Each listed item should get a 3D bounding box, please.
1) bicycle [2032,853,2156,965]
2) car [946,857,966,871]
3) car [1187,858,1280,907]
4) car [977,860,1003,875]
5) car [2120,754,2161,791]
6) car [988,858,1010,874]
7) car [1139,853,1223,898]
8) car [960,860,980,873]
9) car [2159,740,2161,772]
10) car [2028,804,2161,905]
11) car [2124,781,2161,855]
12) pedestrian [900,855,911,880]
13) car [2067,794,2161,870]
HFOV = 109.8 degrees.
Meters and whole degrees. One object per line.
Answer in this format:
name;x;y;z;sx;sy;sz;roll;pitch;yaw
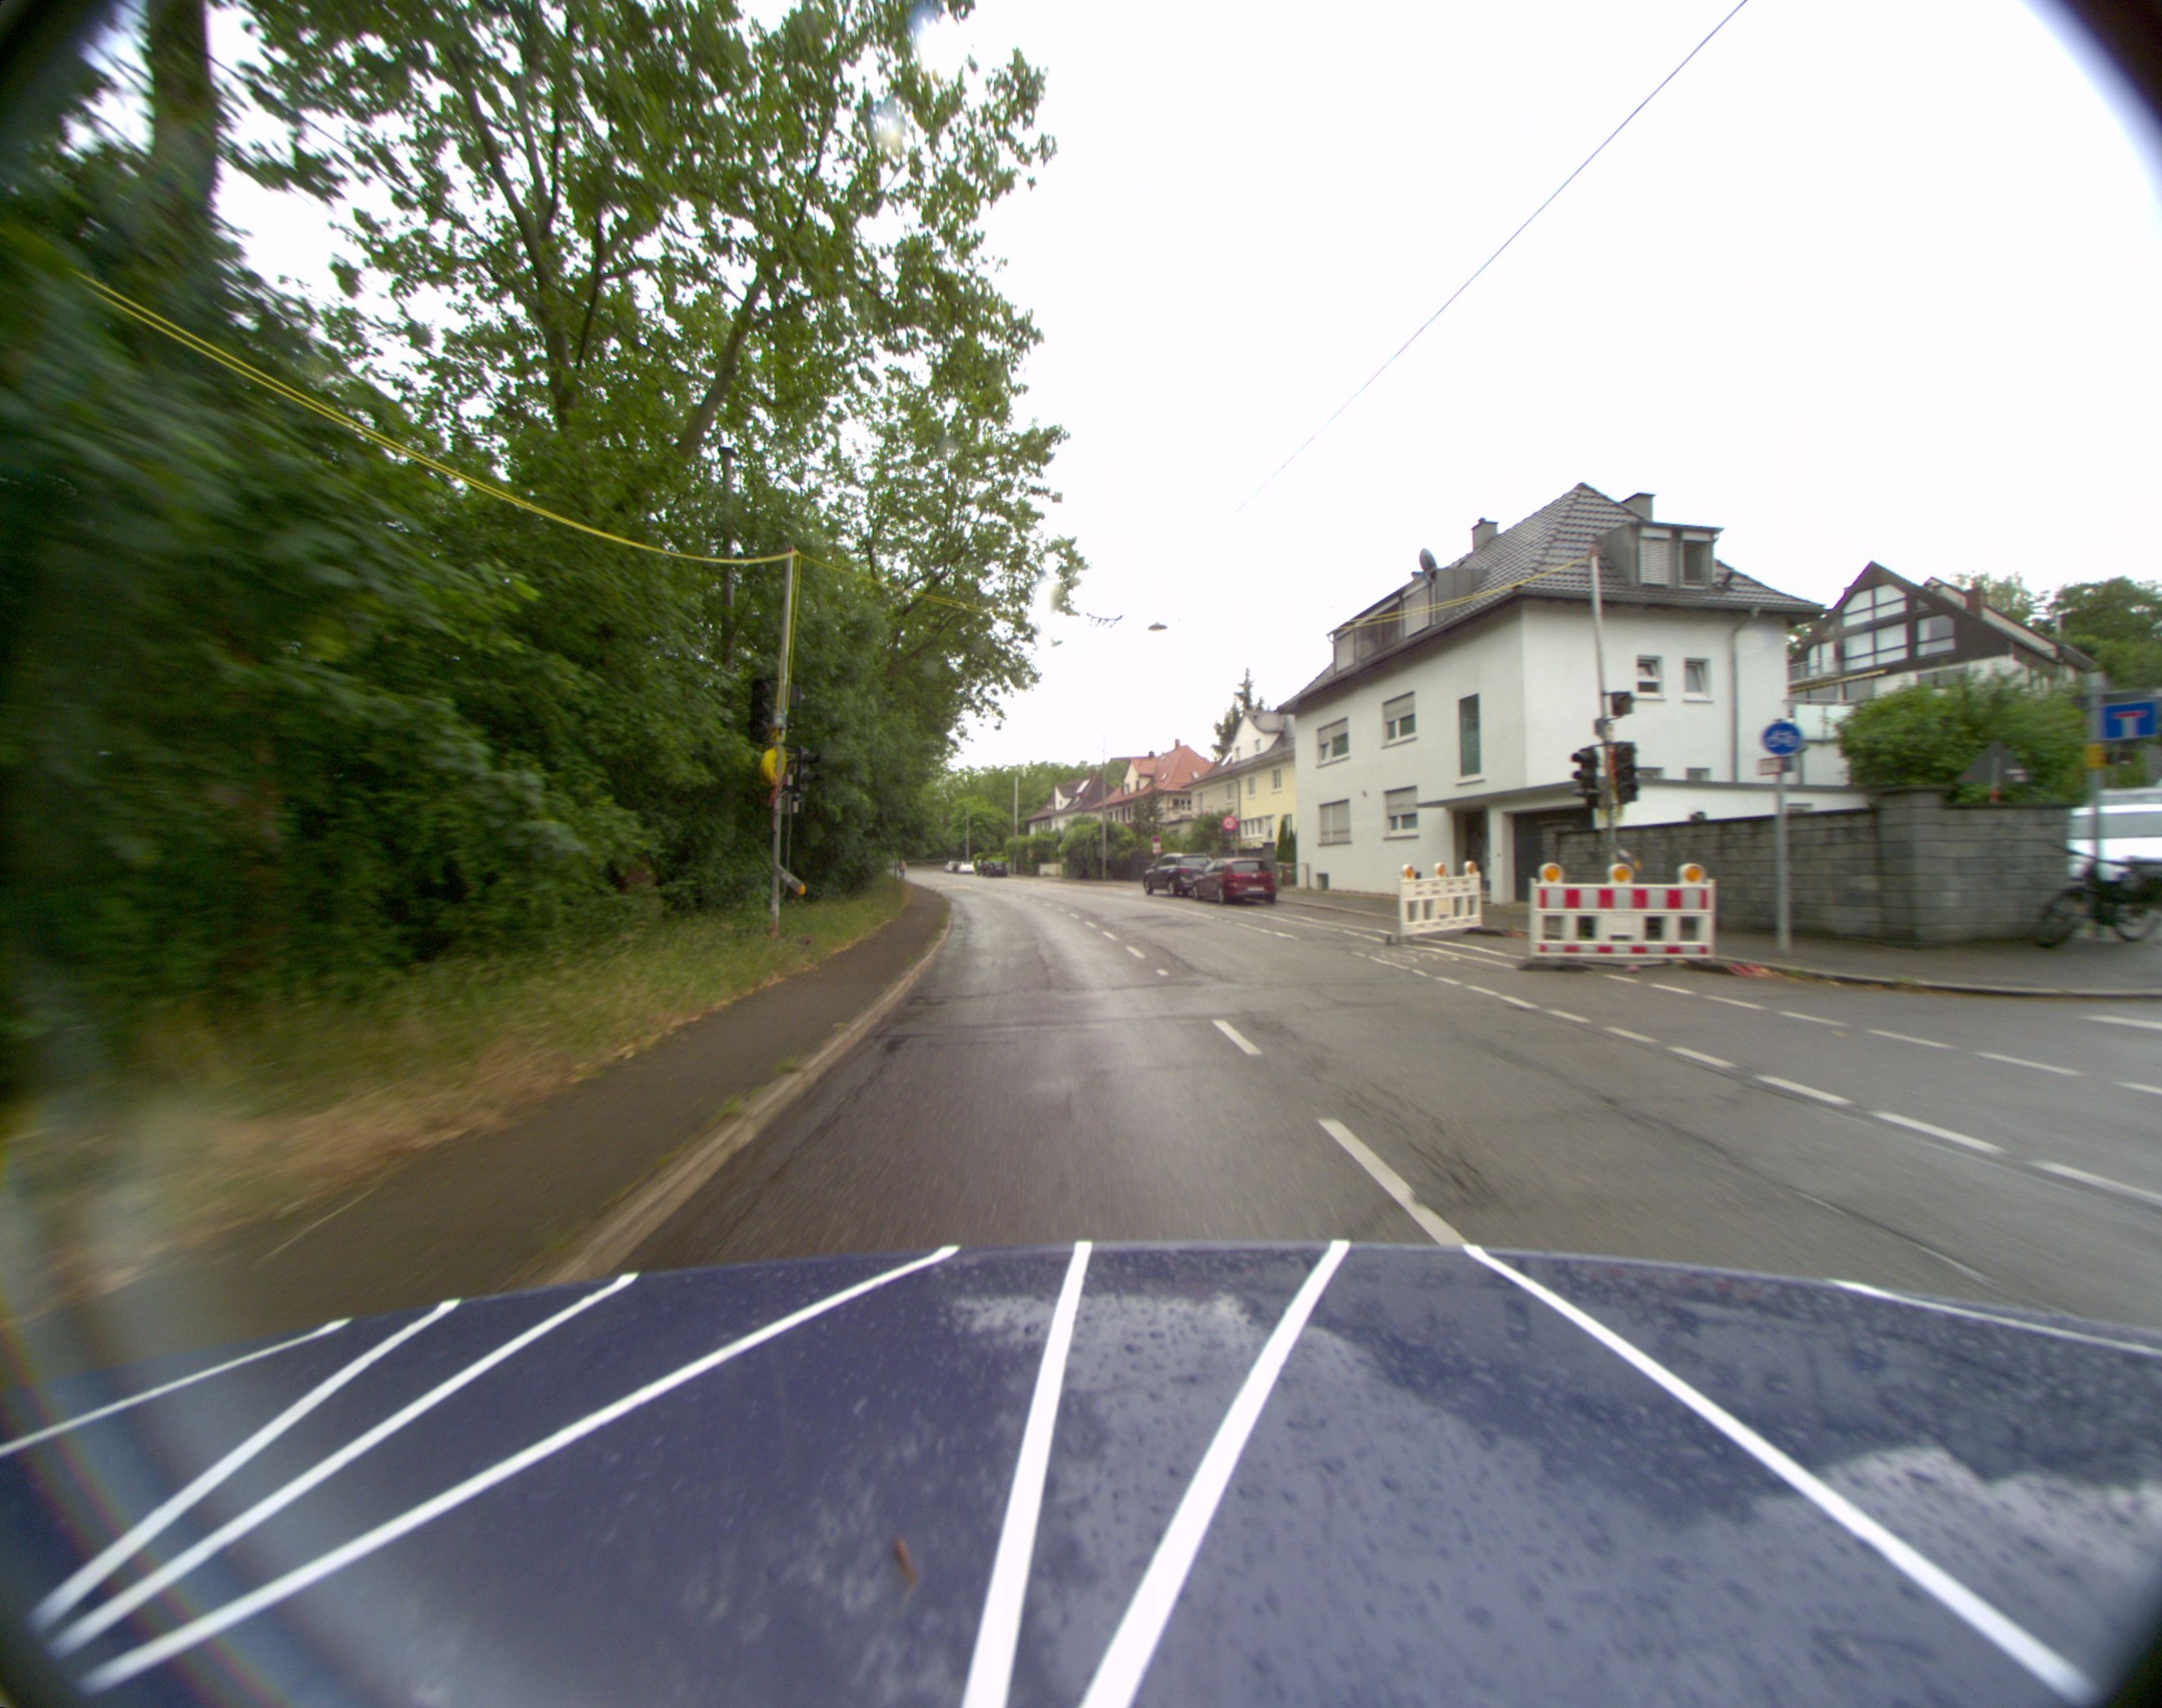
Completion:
bicycle;11.625;0.597;8.715;1.520;1.118;0.463;-4;2;-21
car;-16.303;1.266;99.009;1.739;1.414;4.274;-5;4;-20
car;4.926;0.898;25.138;1.622;1.432;4.227;-1;-1;-9
car;-9.025;1.356;74.904;1.695;1.409;4.209;1;-1;-19
car;53.713;-4.078;37.903;4.007;1.711;1.886;-5;3;-41
car;-7.690;1.074;70.817;1.525;1.445;3.025;1;-1;-16
car;3.890;0.842;30.220;1.761;1.648;4.399;1;-1;-15
car;-13.082;1.468;89.373;1.705;1.459;3.705;-1;0;-18
car;58.388;-5.277;39.741;4.007;1.711;1.886;-5;3;-41
car;18.026;-0.055;13.151;4.007;1.458;1.886;-5;2;-41
car;27.504;-0.962;18.769;4.006;1.711;1.886;-4;2;-34
pedestrian;-11.533;0.904;49.971;0.644;1.602;0.669;-1;1;-18
car;23.100;-0.528;16.505;4.006;1.458;1.886;-4;2;-35
